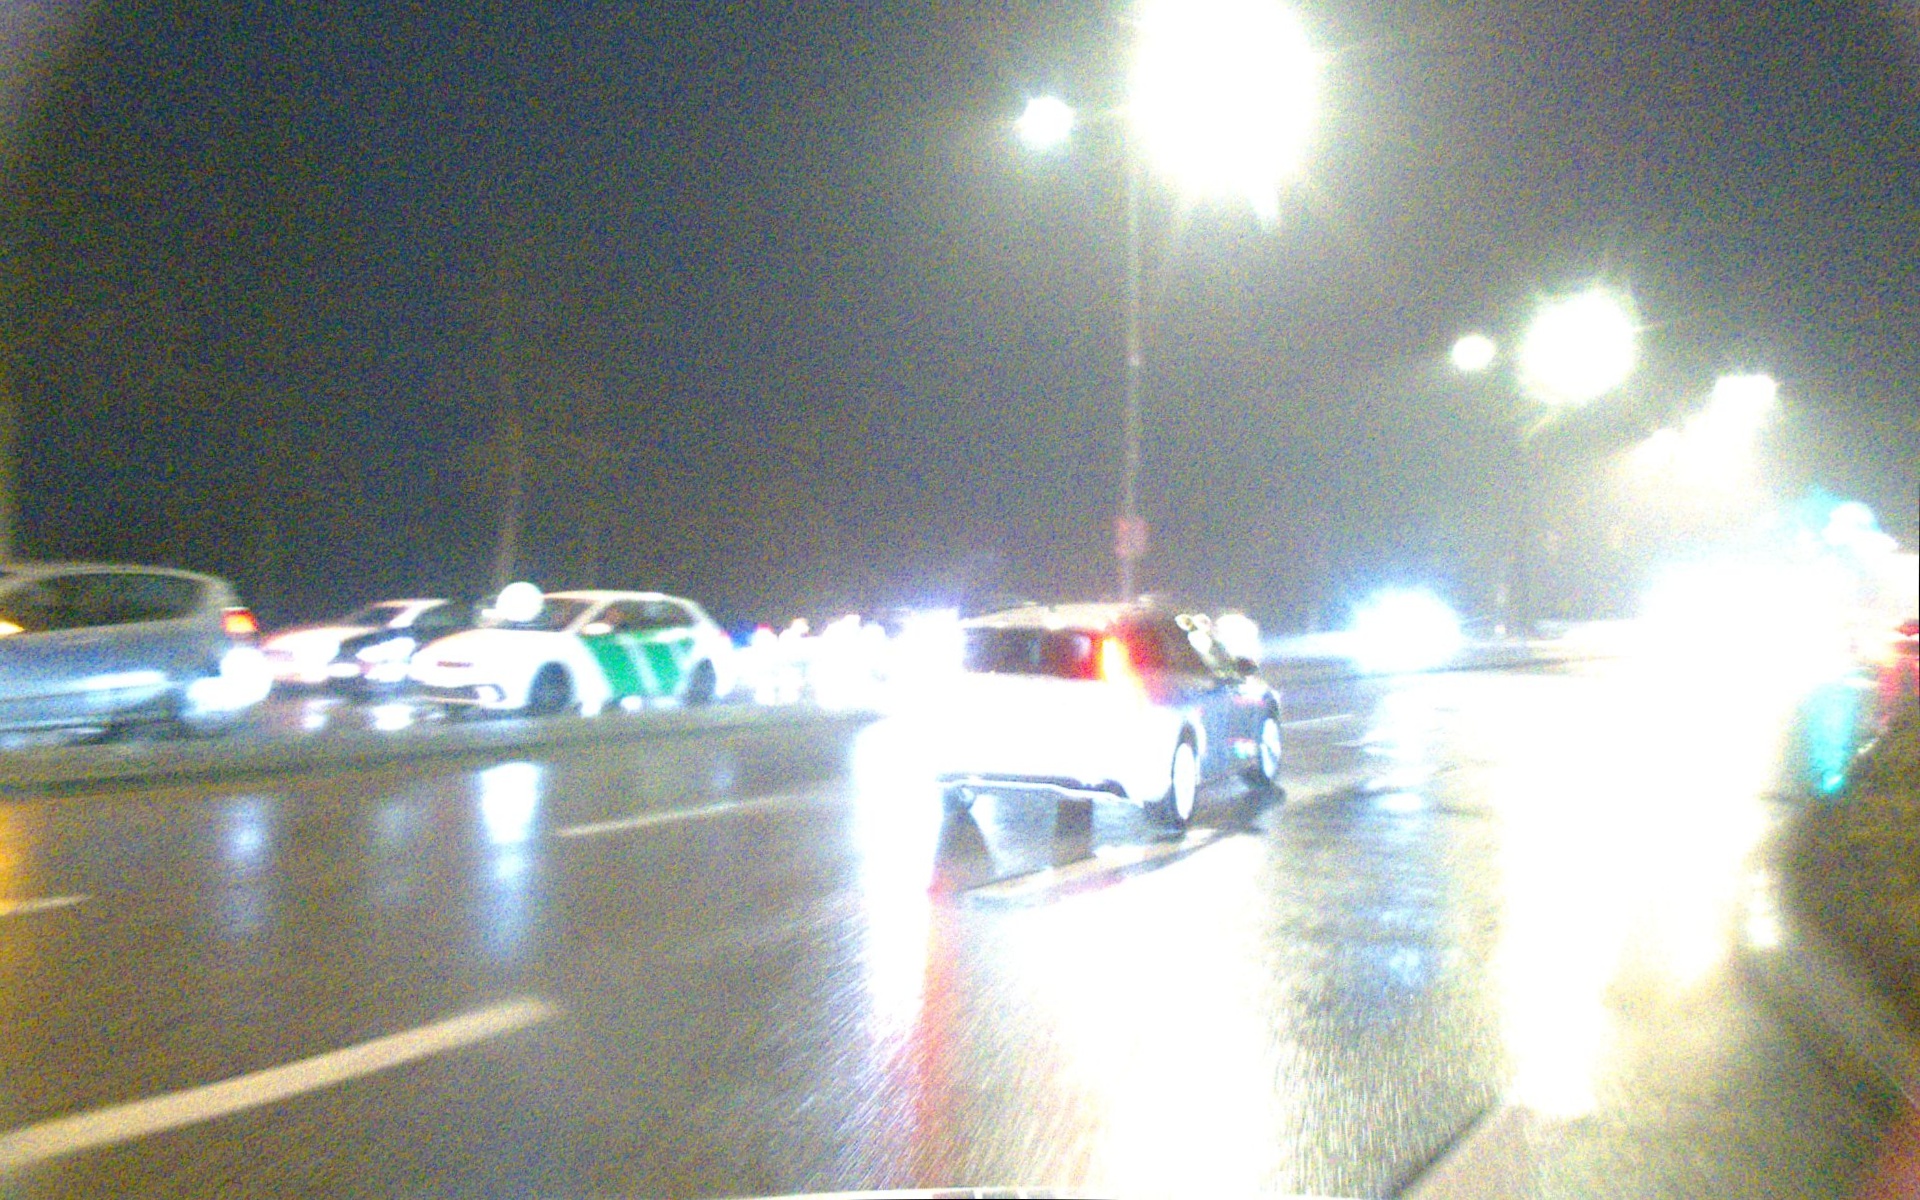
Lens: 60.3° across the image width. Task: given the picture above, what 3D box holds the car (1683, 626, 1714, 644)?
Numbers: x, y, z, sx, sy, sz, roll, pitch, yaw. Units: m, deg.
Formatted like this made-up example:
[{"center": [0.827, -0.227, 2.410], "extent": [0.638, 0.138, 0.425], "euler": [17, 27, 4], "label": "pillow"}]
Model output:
[{"center": [53.064, 2.529, 118.863], "extent": [1.613, 1.224, 3.606], "euler": [1, 0, 31], "label": "car"}]

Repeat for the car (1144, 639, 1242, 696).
[{"center": [7.358, 2.087, 51.911], "extent": [1.467, 1.630, 4.134], "euler": [1, 0, 32], "label": "car"}]

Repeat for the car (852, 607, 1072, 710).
[{"center": [0.126, 0.950, 28.083], "extent": [1.779, 1.605, 4.296], "euler": [0, -1, 31], "label": "car"}]

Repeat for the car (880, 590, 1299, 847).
[{"center": [1.159, 0.744, 12.206], "extent": [1.760, 1.477, 4.267], "euler": [2, 0, 23], "label": "car"}]

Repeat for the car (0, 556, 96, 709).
[{"center": [-10.855, 0.270, 16.041], "extent": [1.684, 1.513, 4.042], "euler": [1, -2, 36], "label": "car"}]

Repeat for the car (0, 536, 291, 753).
[{"center": [-8.122, 0.351, 14.471], "extent": [1.729, 1.755, 3.889], "euler": [1, 0, 34], "label": "car"}]

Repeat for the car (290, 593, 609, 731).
[{"center": [-6.892, 0.848, 22.709], "extent": [1.766, 1.695, 3.966], "euler": [1, -2, 32], "label": "car"}]

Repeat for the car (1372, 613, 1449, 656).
[{"center": [18.361, 1.434, 67.283], "extent": [1.849, 1.557, 4.421], "euler": [3, -1, 31], "label": "car"}]

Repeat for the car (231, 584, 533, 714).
[{"center": [-8.873, 0.770, 25.741], "extent": [1.766, 1.831, 4.239], "euler": [1, -2, 32], "label": "car"}]

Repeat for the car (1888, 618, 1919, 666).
[{"center": [37.419, 1.715, 64.554], "extent": [1.876, 1.628, 3.990], "euler": [6, 0, 31], "label": "car"}]

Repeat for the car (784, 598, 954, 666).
[{"center": [-1.939, 0.695, 36.430], "extent": [1.728, 1.401, 4.029], "euler": [1, -1, 32], "label": "car"}]

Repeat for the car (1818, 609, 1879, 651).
[{"center": [42.345, 1.449, 78.787], "extent": [2.141, 1.628, 3.988], "euler": [6, 0, 33], "label": "car"}]

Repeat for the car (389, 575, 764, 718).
[{"center": [-4.433, 0.511, 19.785], "extent": [1.745, 1.510, 4.399], "euler": [0, -1, 33], "label": "car"}]

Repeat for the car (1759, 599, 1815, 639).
[{"center": [41.516, 0.973, 82.998], "extent": [2.139, 1.628, 3.991], "euler": [6, 0, 31], "label": "car"}]

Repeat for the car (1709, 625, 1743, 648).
[{"center": [51.691, 2.460, 111.547], "extent": [1.562, 1.452, 3.340], "euler": [1, 0, 34], "label": "car"}]

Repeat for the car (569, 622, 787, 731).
[{"center": [-5.236, 1.430, 31.189], "extent": [1.728, 1.881, 4.114], "euler": [1, -2, 32], "label": "car"}]
